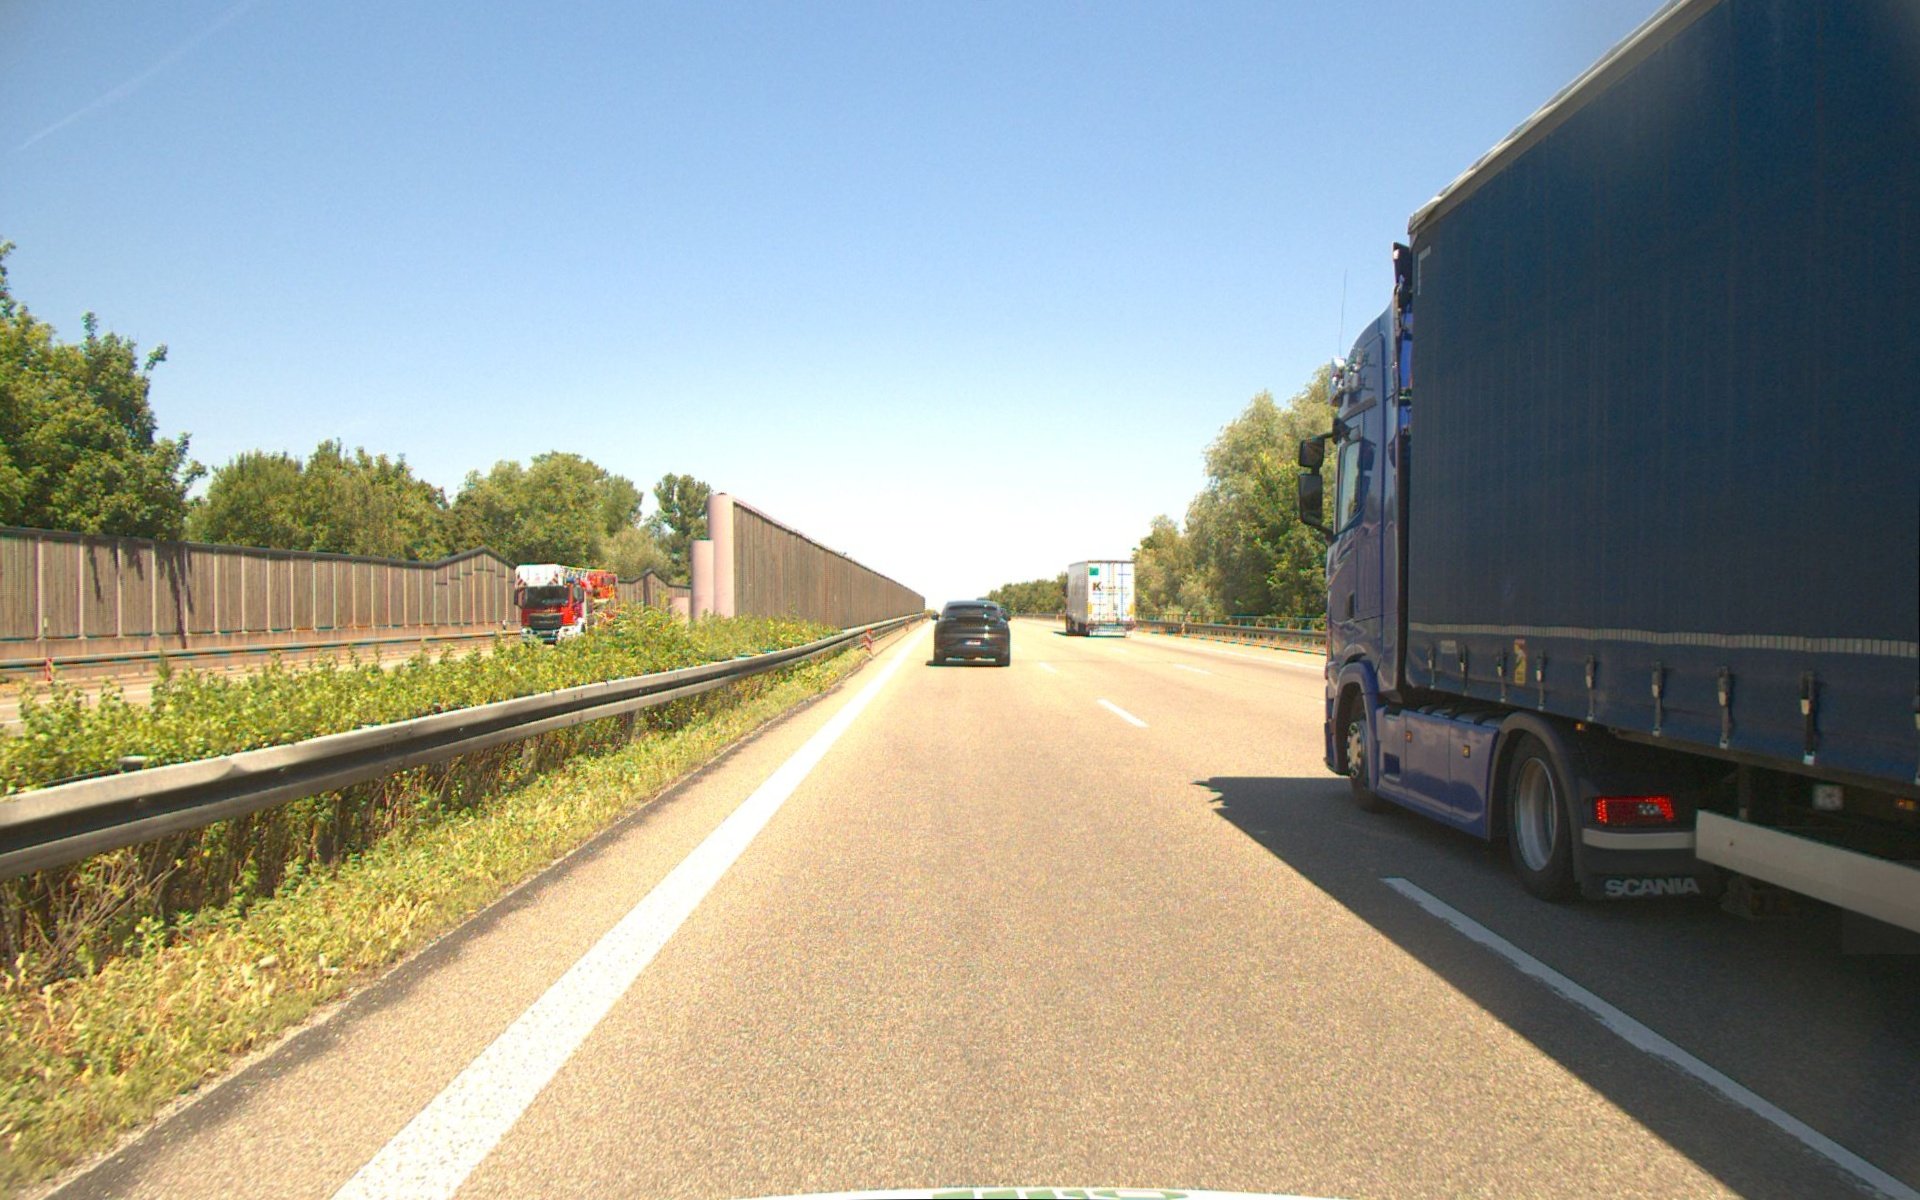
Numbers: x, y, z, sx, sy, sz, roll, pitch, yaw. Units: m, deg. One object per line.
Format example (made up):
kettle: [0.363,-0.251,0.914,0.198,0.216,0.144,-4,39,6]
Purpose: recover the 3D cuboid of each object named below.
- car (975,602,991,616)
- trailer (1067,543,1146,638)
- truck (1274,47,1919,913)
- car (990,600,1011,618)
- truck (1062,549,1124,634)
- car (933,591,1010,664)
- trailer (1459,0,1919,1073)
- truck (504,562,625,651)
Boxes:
car: [2.825,1.082,203.009,1.864,1.612,4.303,-1,-1,0]
trailer: [8.099,-0.478,93.387,3.202,4.922,14.027,1,0,0]
truck: [4.274,-0.559,11.562,2.645,4.190,6.988,1,0,-1]
car: [3.668,0.829,150.459,1.864,1.612,4.303,-1,-1,0]
truck: [8.055,-0.458,100.970,3.168,4.975,6.971,1,0,0]
car: [0.251,0.686,43.064,1.842,1.823,3.998,0,0,-2]
trailer: [4.394,-0.588,3.904,2.645,4.190,12.129,1,0,-1]
truck: [-17.027,0.283,72.050,2.644,3.553,10.853,1,0,0]
